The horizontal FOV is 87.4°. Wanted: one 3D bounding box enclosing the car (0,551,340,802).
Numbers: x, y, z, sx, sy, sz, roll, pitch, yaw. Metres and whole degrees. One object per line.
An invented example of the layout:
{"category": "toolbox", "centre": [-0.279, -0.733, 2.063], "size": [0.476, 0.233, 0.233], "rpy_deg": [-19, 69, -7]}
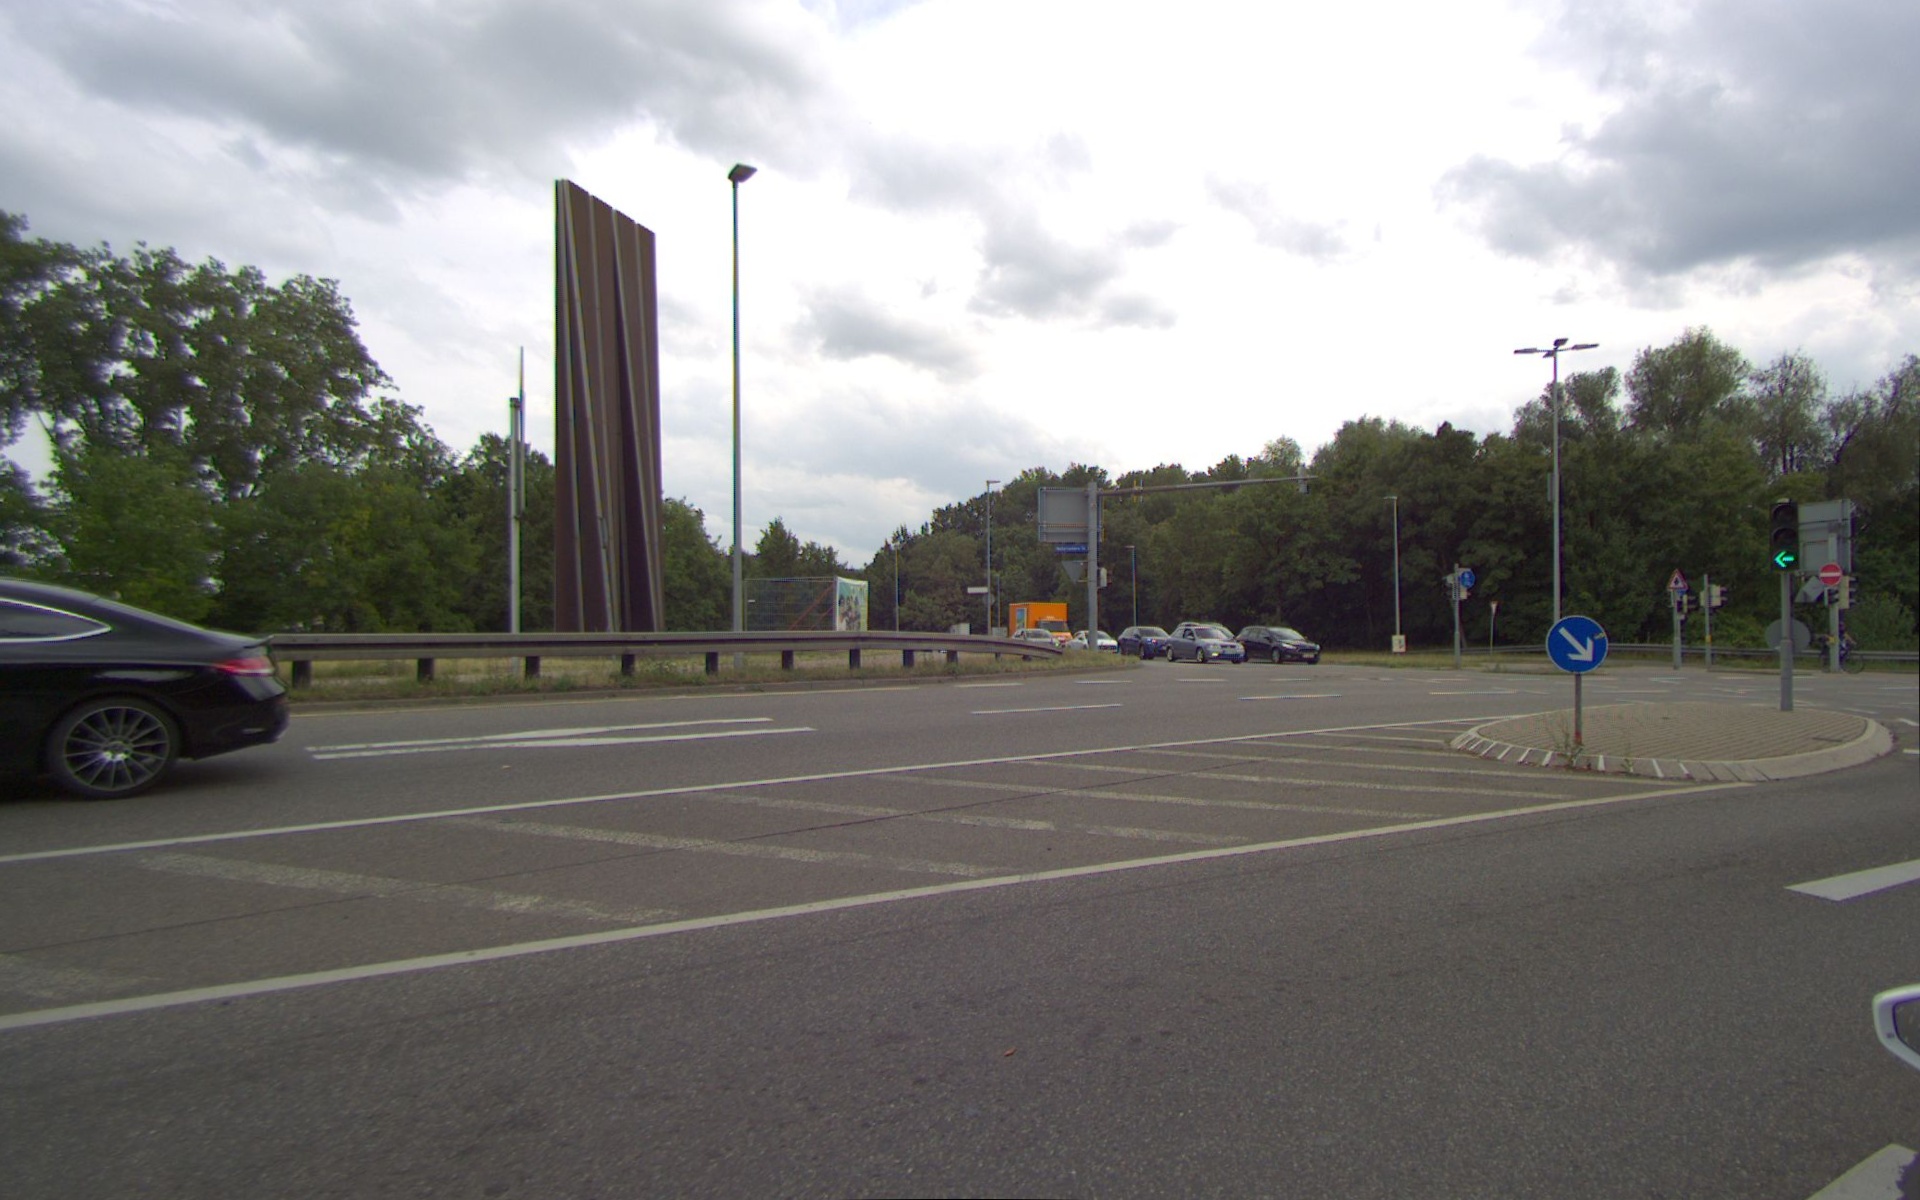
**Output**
{"category": "car", "centre": [-6.731, 0.435, 6.238], "size": [4.620, 1.474, 1.975], "rpy_deg": [2, -1, -43]}

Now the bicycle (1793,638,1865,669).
{"category": "bicycle", "centre": [30.231, 1.858, 34.971], "size": [0.695, 1.066, 1.943], "rpy_deg": [1, -3, -6]}

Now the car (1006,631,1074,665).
{"category": "car", "centre": [3.902, 2.332, 49.530], "size": [1.967, 1.508, 4.364], "rpy_deg": [1, -1, -15]}

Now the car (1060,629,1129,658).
{"category": "car", "centre": [6.817, 2.182, 51.273], "size": [1.967, 1.327, 4.324], "rpy_deg": [1, -1, -15]}

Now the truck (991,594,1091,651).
{"category": "truck", "centre": [4.731, 1.323, 60.944], "size": [2.923, 3.177, 9.244], "rpy_deg": [1, -1, -16]}

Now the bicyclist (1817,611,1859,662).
{"category": "bicyclist", "centre": [30.324, 1.262, 34.714], "size": [0.785, 1.757, 0.745], "rpy_deg": [1, -2, -5]}

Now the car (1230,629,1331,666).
{"category": "car", "centre": [12.797, 1.885, 40.316], "size": [1.967, 1.327, 4.058], "rpy_deg": [1, -1, -15]}

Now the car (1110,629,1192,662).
{"category": "car", "centre": [8.539, 2.030, 45.319], "size": [1.967, 1.327, 4.324], "rpy_deg": [1, -1, -15]}

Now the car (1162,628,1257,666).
{"category": "car", "centre": [9.523, 1.780, 38.615], "size": [1.967, 1.327, 3.794], "rpy_deg": [1, -1, -15]}

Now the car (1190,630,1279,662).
{"category": "car", "centre": [12.697, 2.118, 46.727], "size": [1.967, 1.327, 4.560], "rpy_deg": [1, -1, -15]}
